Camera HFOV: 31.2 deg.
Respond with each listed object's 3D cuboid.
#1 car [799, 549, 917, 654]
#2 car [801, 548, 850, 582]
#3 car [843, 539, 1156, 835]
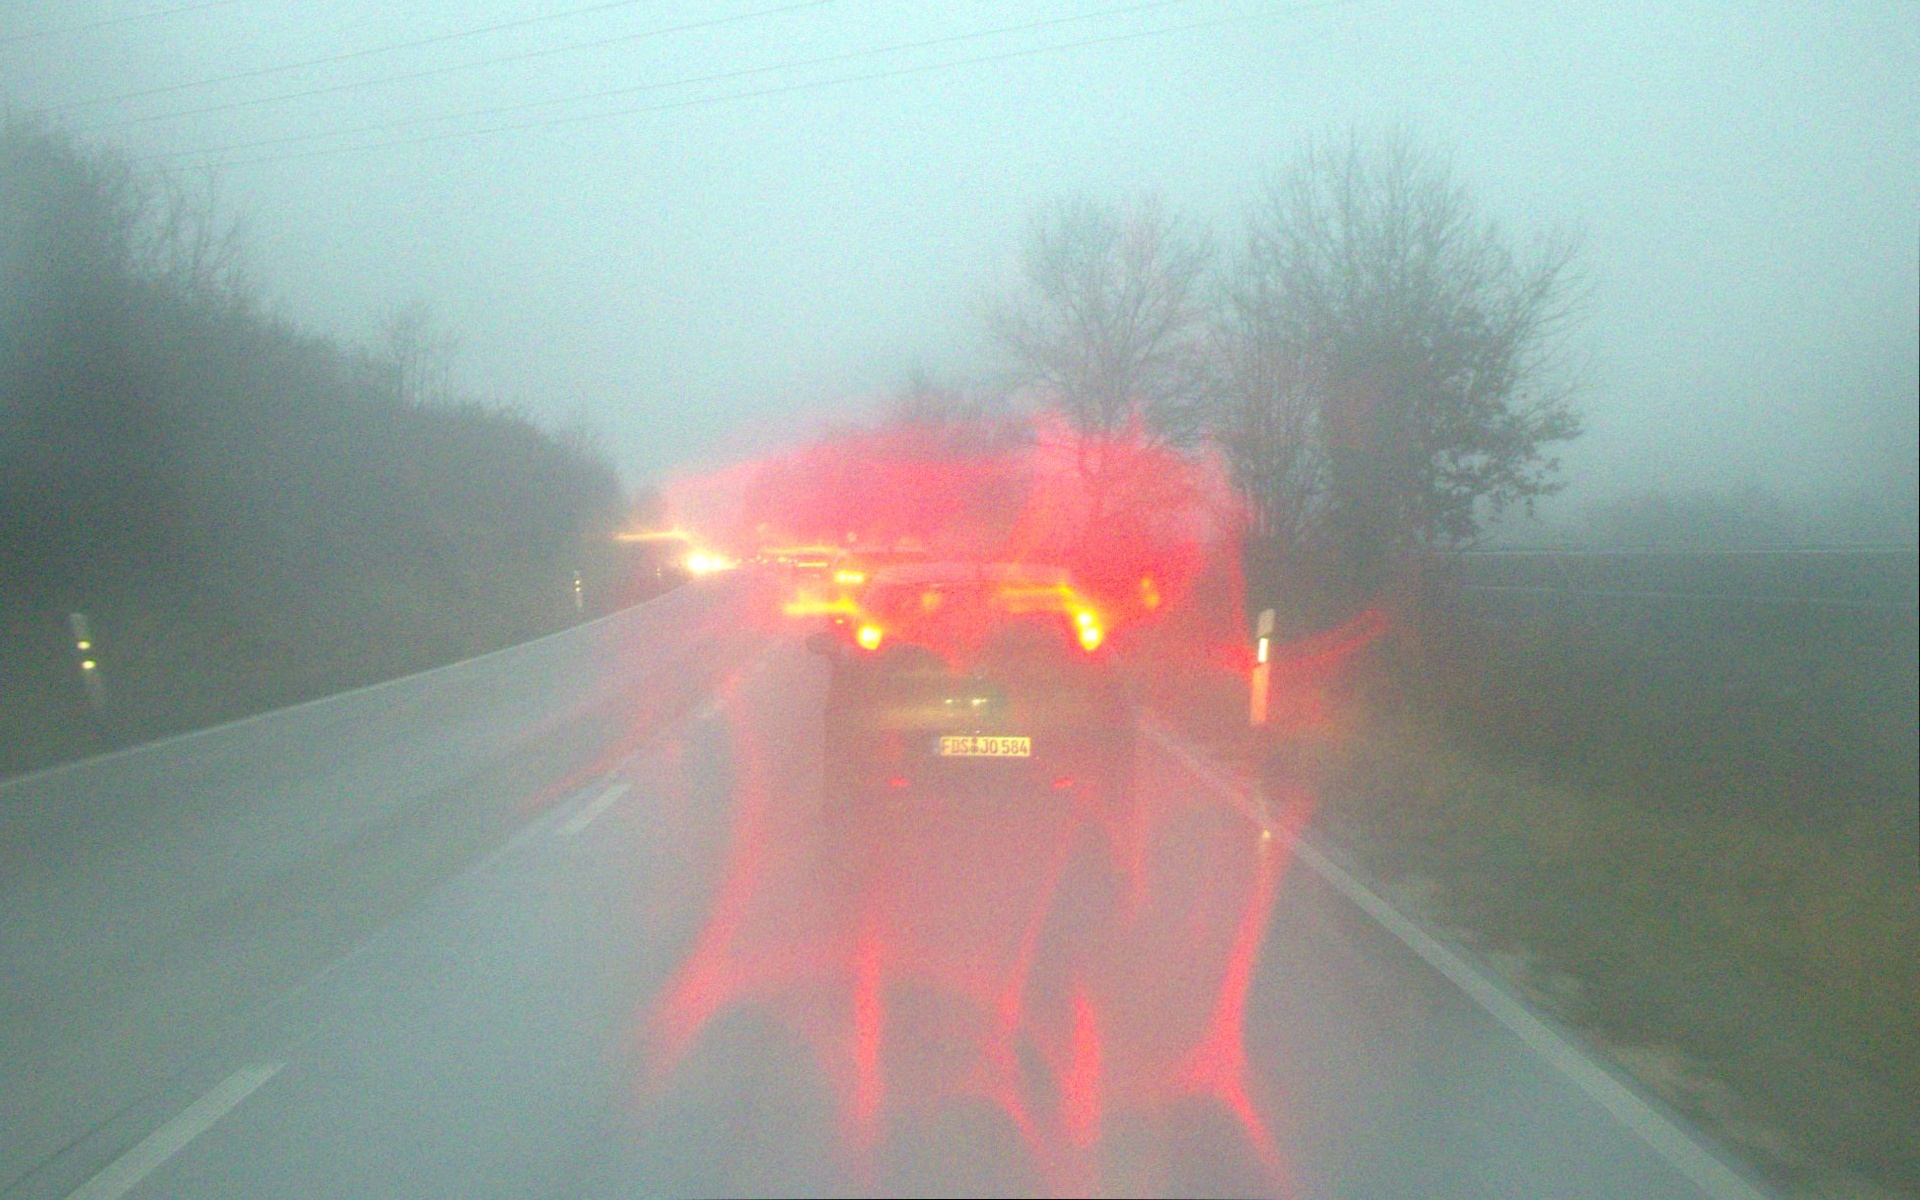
[{"bbox_3d":[-1.395,-0.003,48.151,1.547,1.392,3.870,0,1,0],"label":"car"},{"bbox_3d":[-5.578,-1.466,142.861,1.547,1.392,3.869,1,1,5],"label":"car"},{"bbox_3d":[0.212,0.416,19.680,1.602,1.517,3.869,0,1,0],"label":"car"}]
